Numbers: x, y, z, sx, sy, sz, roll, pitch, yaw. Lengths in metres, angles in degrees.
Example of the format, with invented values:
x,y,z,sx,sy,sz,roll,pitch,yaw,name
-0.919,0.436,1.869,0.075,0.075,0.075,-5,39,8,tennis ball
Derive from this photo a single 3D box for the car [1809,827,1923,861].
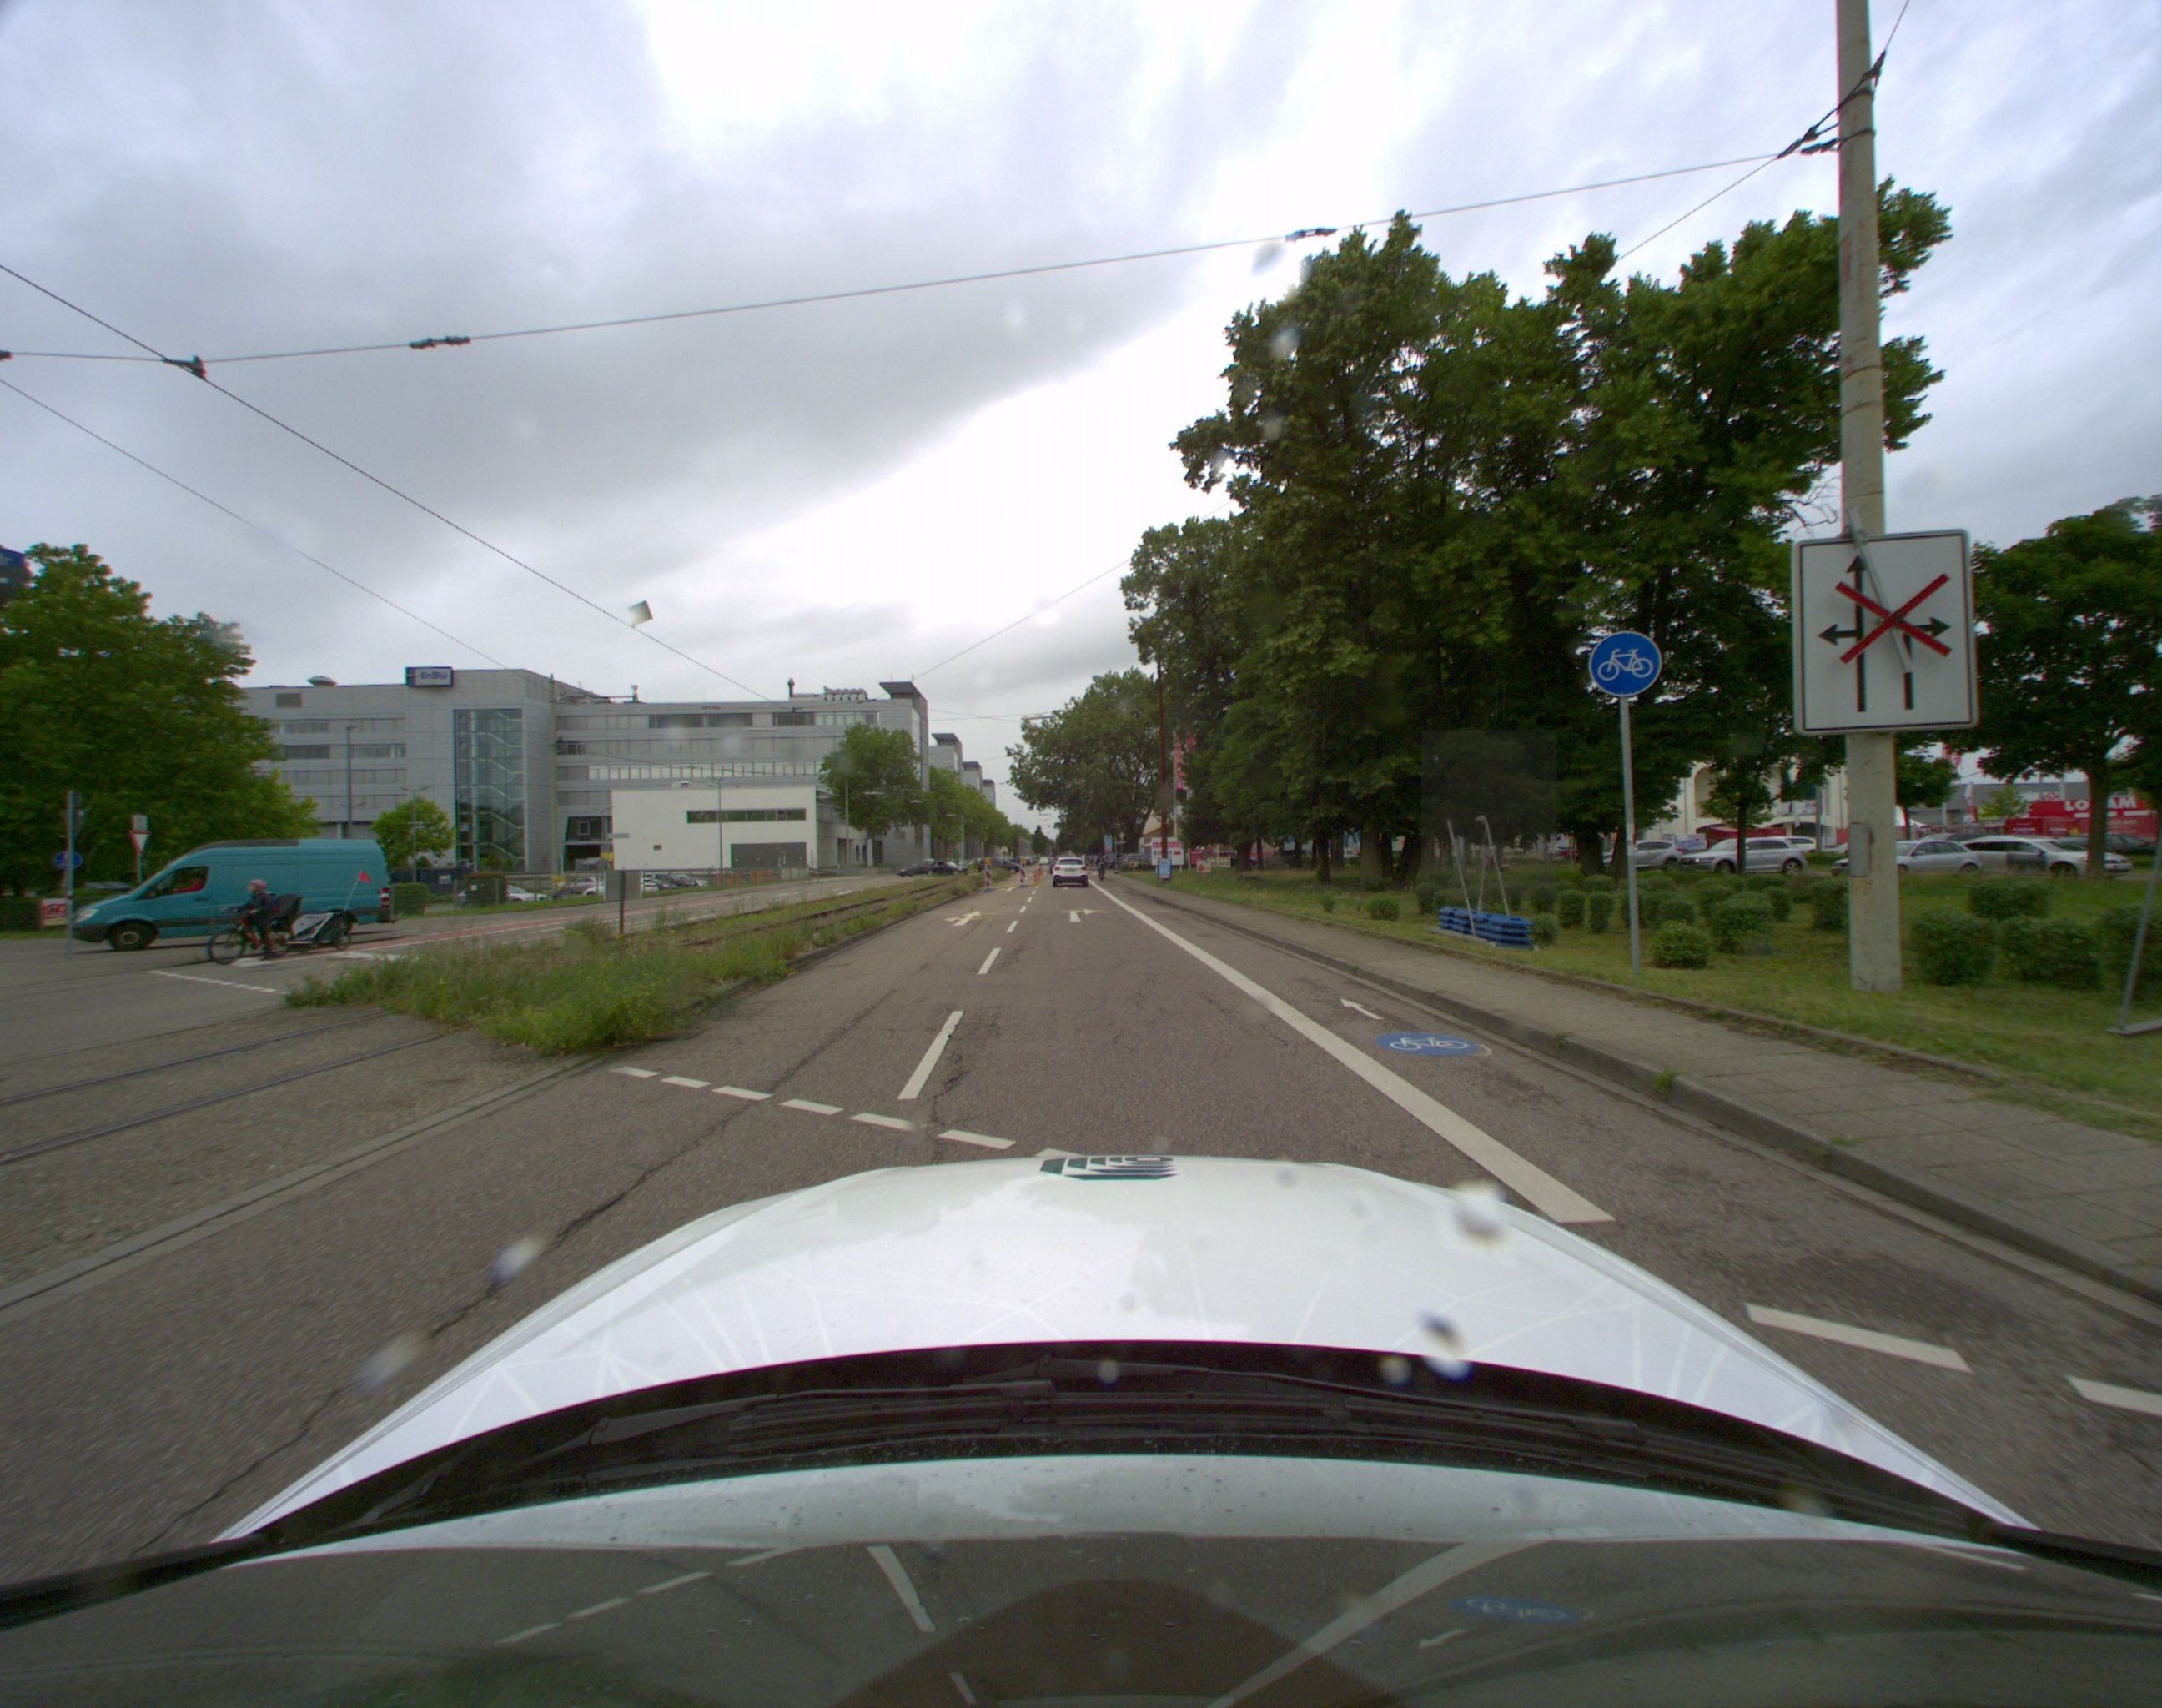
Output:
x,y,z,sx,sy,sz,roll,pitch,yaw,name
43.041,-0.540,44.706,4.549,1.677,2.150,-2,0,-7,car

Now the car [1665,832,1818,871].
x,y,z,sx,sy,sz,roll,pitch,yaw,name
26.869,-0.079,33.227,4.665,1.497,2.167,0,-1,-4,car

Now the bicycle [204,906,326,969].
x,y,z,sx,sy,sz,roll,pitch,yaw,name
-16.438,1.648,16.489,0.645,1.062,2.018,0,0,-8,bicycle

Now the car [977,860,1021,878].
x,y,z,sx,sy,sz,roll,pitch,yaw,name
-7.440,1.377,74.525,3.874,1.556,1.823,0,-1,-3,car

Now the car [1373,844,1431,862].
x,y,z,sx,sy,sz,roll,pitch,yaw,name
29.984,-0.089,76.096,4.542,1.572,2.071,-2,0,-2,car

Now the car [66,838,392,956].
x,y,z,sx,sy,sz,roll,pitch,yaw,name
-23.127,1.019,22.473,2.306,2.826,5.986,-2,-1,41,car

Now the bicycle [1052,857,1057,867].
x,y,z,sx,sy,sz,roll,pitch,yaw,name
-3.854,1.198,119.031,0.669,1.394,2.163,0,0,-5,bicycle

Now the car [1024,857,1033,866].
x,y,z,sx,sy,sz,roll,pitch,yaw,name
-10.869,1.624,168.623,1.873,1.763,3.995,-2,0,-3,car

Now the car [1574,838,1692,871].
x,y,z,sx,sy,sz,roll,pitch,yaw,name
26.386,0.050,39.008,4.525,1.497,1.955,0,-1,-7,car

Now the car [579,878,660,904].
x,y,z,sx,sy,sz,roll,pitch,yaw,name
-32.333,2.589,57.150,4.519,1.634,1.910,-2,0,-5,car

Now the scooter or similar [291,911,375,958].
x,y,z,sx,sy,sz,roll,pitch,yaw,name
-16.663,1.782,18.177,0.843,0.907,1.194,0,0,-8,scooter or similar

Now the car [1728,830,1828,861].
x,y,z,sx,sy,sz,roll,pitch,yaw,name
42.710,-0.506,49.969,4.549,1.677,2.150,-2,0,-7,car

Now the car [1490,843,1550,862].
x,y,z,sx,sy,sz,roll,pitch,yaw,name
41.590,-0.126,77.181,4.542,1.572,2.071,-2,0,-2,car

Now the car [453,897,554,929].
x,y,z,sx,sy,sz,roll,pitch,yaw,name
-32.129,3.275,45.404,4.198,1.532,1.912,-2,0,-1,car

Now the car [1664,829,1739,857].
x,y,z,sx,sy,sz,roll,pitch,yaw,name
59.609,-1.027,78.289,5.728,2.537,2.071,-2,0,-3,car

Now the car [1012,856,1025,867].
x,y,z,sx,sy,sz,roll,pitch,yaw,name
-9.889,1.127,129.232,1.873,1.632,3.995,-2,0,-3,car

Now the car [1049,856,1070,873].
x,y,z,sx,sy,sz,roll,pitch,yaw,name
-1.938,0.945,73.436,1.681,1.513,3.699,0,0,-5,car

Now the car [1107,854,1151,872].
x,y,z,sx,sy,sz,roll,pitch,yaw,name
4.813,0.891,82.230,4.302,1.677,1.991,-2,0,-2,car

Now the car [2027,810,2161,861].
x,y,z,sx,sy,sz,roll,pitch,yaw,name
44.395,-0.791,35.365,4.549,2.051,2.150,-2,0,-7,car

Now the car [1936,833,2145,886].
x,y,z,sx,sy,sz,roll,pitch,yaw,name
33.188,0.209,28.411,1.987,1.670,4.504,0,-1,0,car

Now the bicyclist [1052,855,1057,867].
x,y,z,sx,sy,sz,roll,pitch,yaw,name
-3.848,1.001,118.974,0.669,1.815,0.758,0,0,-5,bicyclist

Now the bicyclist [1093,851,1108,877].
x,y,z,sx,sy,sz,roll,pitch,yaw,name
1.219,0.631,51.655,0.814,1.630,1.234,-2,0,-2,bicyclist

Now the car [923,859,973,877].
x,y,z,sx,sy,sz,roll,pitch,yaw,name
-12.050,1.266,73.811,4.082,1.475,1.834,-3,-2,20,car

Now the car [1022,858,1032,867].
x,y,z,sx,sy,sz,roll,pitch,yaw,name
-10.880,1.654,163.408,1.873,1.763,3.995,-2,0,-3,car

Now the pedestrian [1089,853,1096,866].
x,y,z,sx,sy,sz,roll,pitch,yaw,name
1.498,0.689,107.282,0.760,1.705,0.680,-2,0,-7,pedestrian

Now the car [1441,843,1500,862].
x,y,z,sx,sy,sz,roll,pitch,yaw,name
36.540,-0.140,76.517,4.542,1.572,2.071,-2,0,-2,car

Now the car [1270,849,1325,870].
x,y,z,sx,sy,sz,roll,pitch,yaw,name
20.154,0.466,76.028,4.542,1.790,2.072,-1,1,-3,car

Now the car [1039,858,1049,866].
x,y,z,sx,sy,sz,roll,pitch,yaw,name
-6.927,1.544,153.758,1.792,1.513,3.699,0,0,-5,car

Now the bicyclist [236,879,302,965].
x,y,z,sx,sy,sz,roll,pitch,yaw,name
-16.435,1.351,16.496,0.645,1.683,0.684,0,0,-8,bicyclist

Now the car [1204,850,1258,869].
x,y,z,sx,sy,sz,roll,pitch,yaw,name
13.767,0.542,75.039,4.542,1.572,1.991,-2,0,-3,car

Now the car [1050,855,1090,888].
x,y,z,sx,sy,sz,roll,pitch,yaw,name
-0.630,0.865,42.102,1.820,1.600,3.769,0,0,-5,car

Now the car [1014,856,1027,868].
x,y,z,sx,sy,sz,roll,pitch,yaw,name
-10.008,1.309,135.043,1.873,1.763,3.995,-2,0,-3,car

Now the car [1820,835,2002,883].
x,y,z,sx,sy,sz,roll,pitch,yaw,name
27.358,0.173,26.915,4.439,1.497,1.927,0,-1,-7,car

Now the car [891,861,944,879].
x,y,z,sx,sy,sz,roll,pitch,yaw,name
-15.223,1.450,75.749,4.440,1.472,1.807,-2,0,-31,car

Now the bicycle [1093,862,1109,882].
x,y,z,sx,sy,sz,roll,pitch,yaw,name
1.238,1.143,51.651,0.814,1.212,2.681,-2,0,-2,bicycle
